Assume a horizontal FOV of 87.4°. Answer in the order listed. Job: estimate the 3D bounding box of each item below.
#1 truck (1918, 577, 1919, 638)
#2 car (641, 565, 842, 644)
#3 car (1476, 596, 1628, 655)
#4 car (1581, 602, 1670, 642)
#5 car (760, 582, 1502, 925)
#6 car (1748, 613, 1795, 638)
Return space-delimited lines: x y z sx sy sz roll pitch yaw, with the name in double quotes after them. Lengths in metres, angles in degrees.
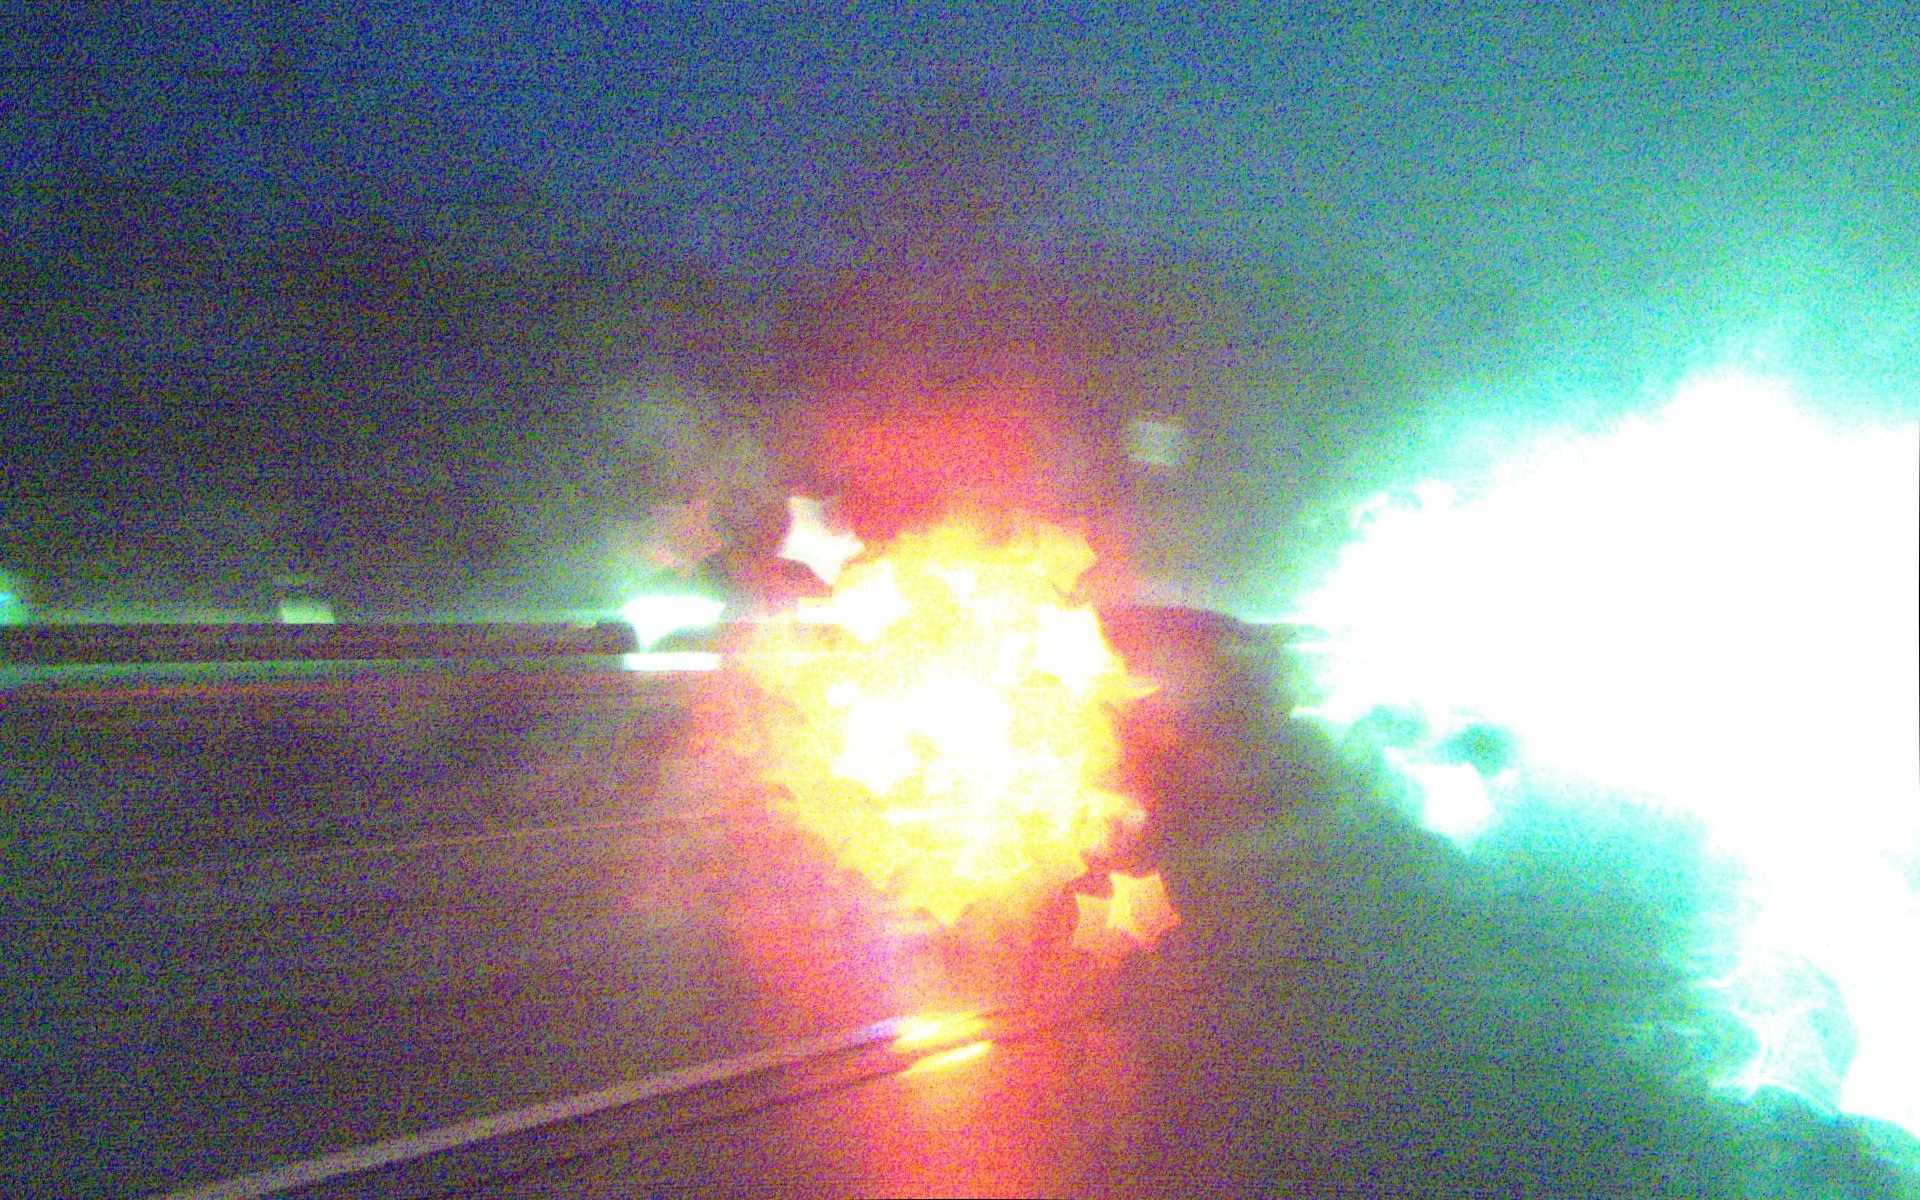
65.874 0.343 66.568 5.798 4.463 2.545 1 1 -38 "truck"
-4.572 0.122 21.123 3.761 1.515 1.754 1 0 -32 "car"
19.977 0.836 33.829 5.531 1.792 2.031 1 1 -31 "car"
29.571 0.999 44.587 4.289 1.670 1.830 1 0 -35 "car"
1.318 0.711 6.557 4.860 1.537 1.758 1 0 -32 "car"
60.107 1.861 74.391 3.968 1.751 1.976 1 0 -41 "car"
